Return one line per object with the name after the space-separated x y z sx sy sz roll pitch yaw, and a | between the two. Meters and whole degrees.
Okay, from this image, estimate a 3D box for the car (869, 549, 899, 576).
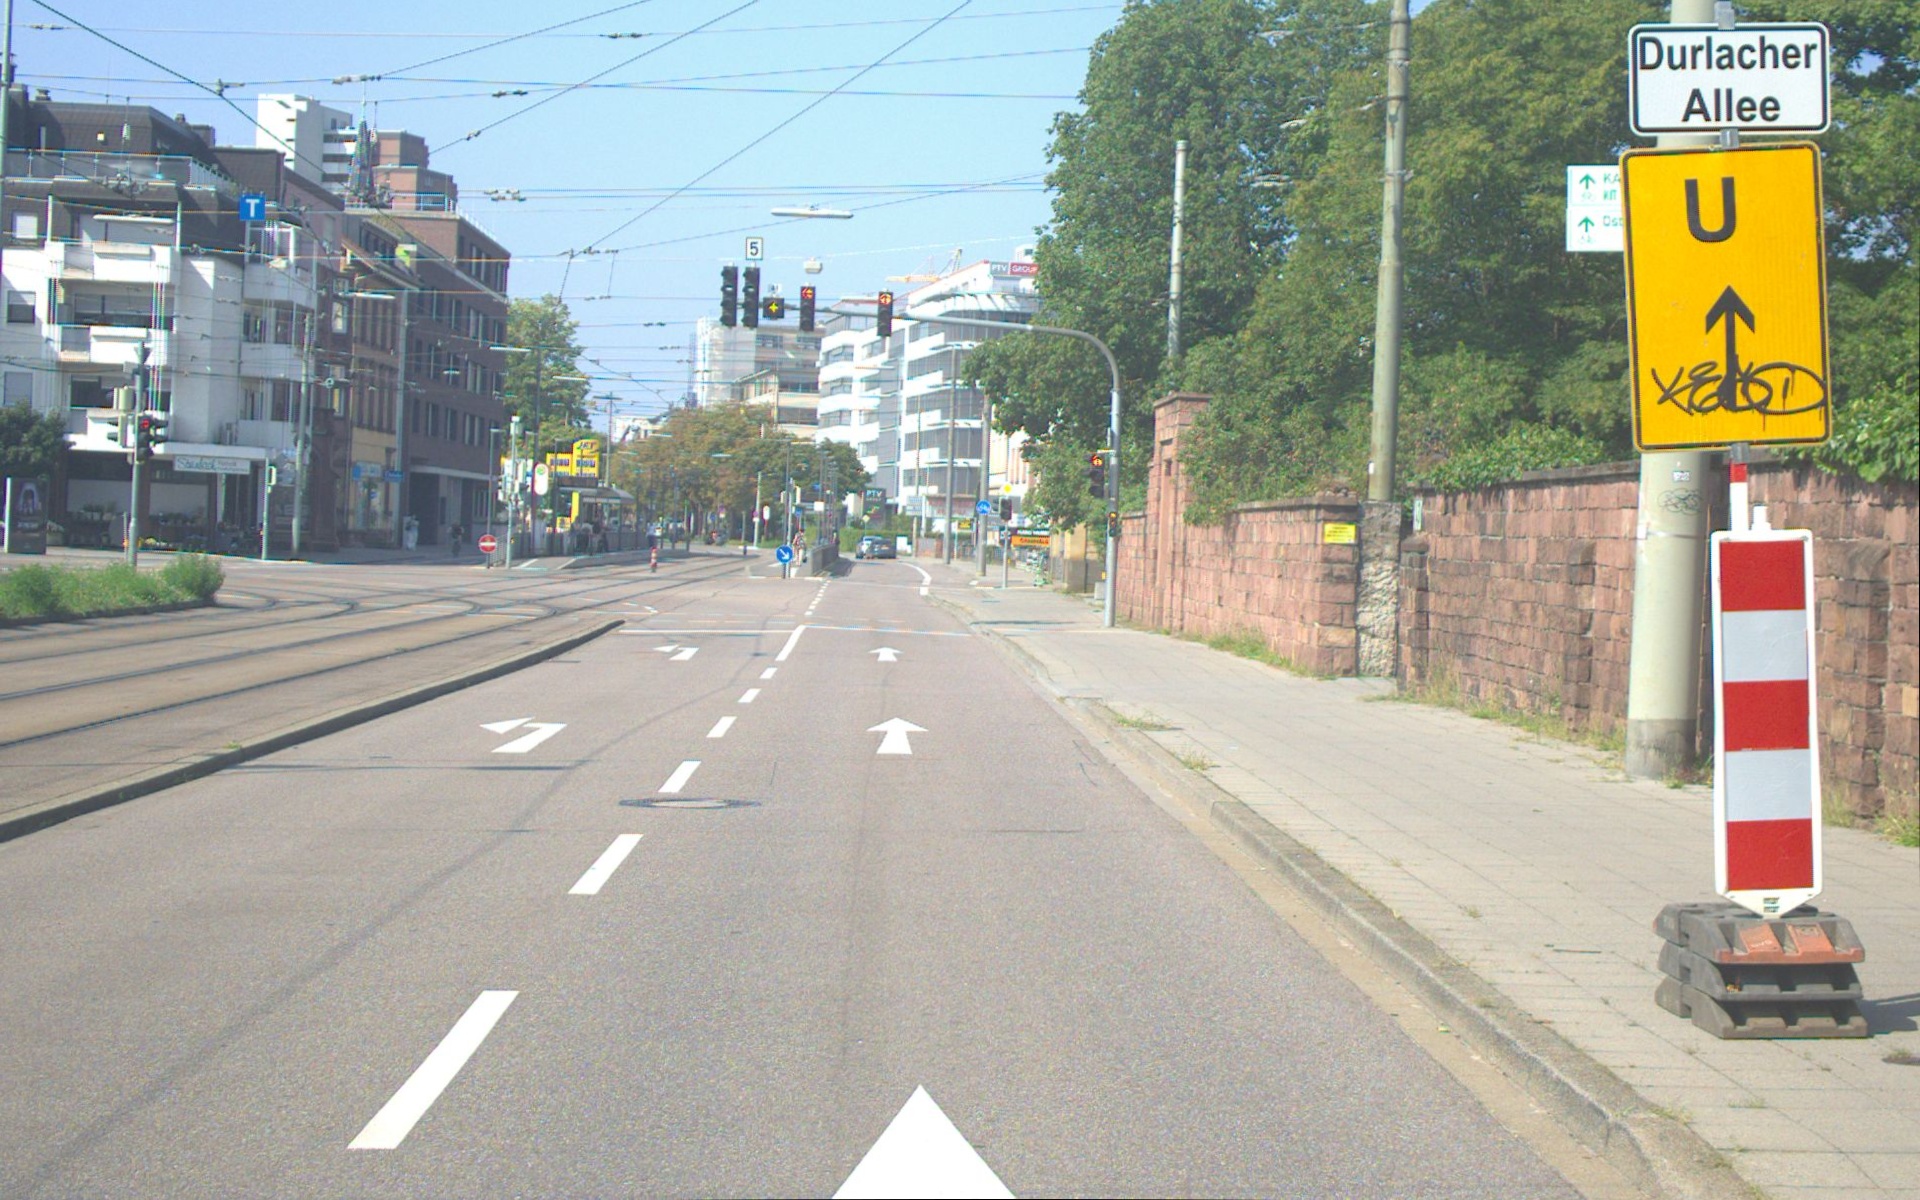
-5.260 -2.597 238.894 2.011 1.852 4.000 1 1 0 | car

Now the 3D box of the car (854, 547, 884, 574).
-6.498 -2.821 244.973 2.011 1.852 4.000 1 1 0 | car
